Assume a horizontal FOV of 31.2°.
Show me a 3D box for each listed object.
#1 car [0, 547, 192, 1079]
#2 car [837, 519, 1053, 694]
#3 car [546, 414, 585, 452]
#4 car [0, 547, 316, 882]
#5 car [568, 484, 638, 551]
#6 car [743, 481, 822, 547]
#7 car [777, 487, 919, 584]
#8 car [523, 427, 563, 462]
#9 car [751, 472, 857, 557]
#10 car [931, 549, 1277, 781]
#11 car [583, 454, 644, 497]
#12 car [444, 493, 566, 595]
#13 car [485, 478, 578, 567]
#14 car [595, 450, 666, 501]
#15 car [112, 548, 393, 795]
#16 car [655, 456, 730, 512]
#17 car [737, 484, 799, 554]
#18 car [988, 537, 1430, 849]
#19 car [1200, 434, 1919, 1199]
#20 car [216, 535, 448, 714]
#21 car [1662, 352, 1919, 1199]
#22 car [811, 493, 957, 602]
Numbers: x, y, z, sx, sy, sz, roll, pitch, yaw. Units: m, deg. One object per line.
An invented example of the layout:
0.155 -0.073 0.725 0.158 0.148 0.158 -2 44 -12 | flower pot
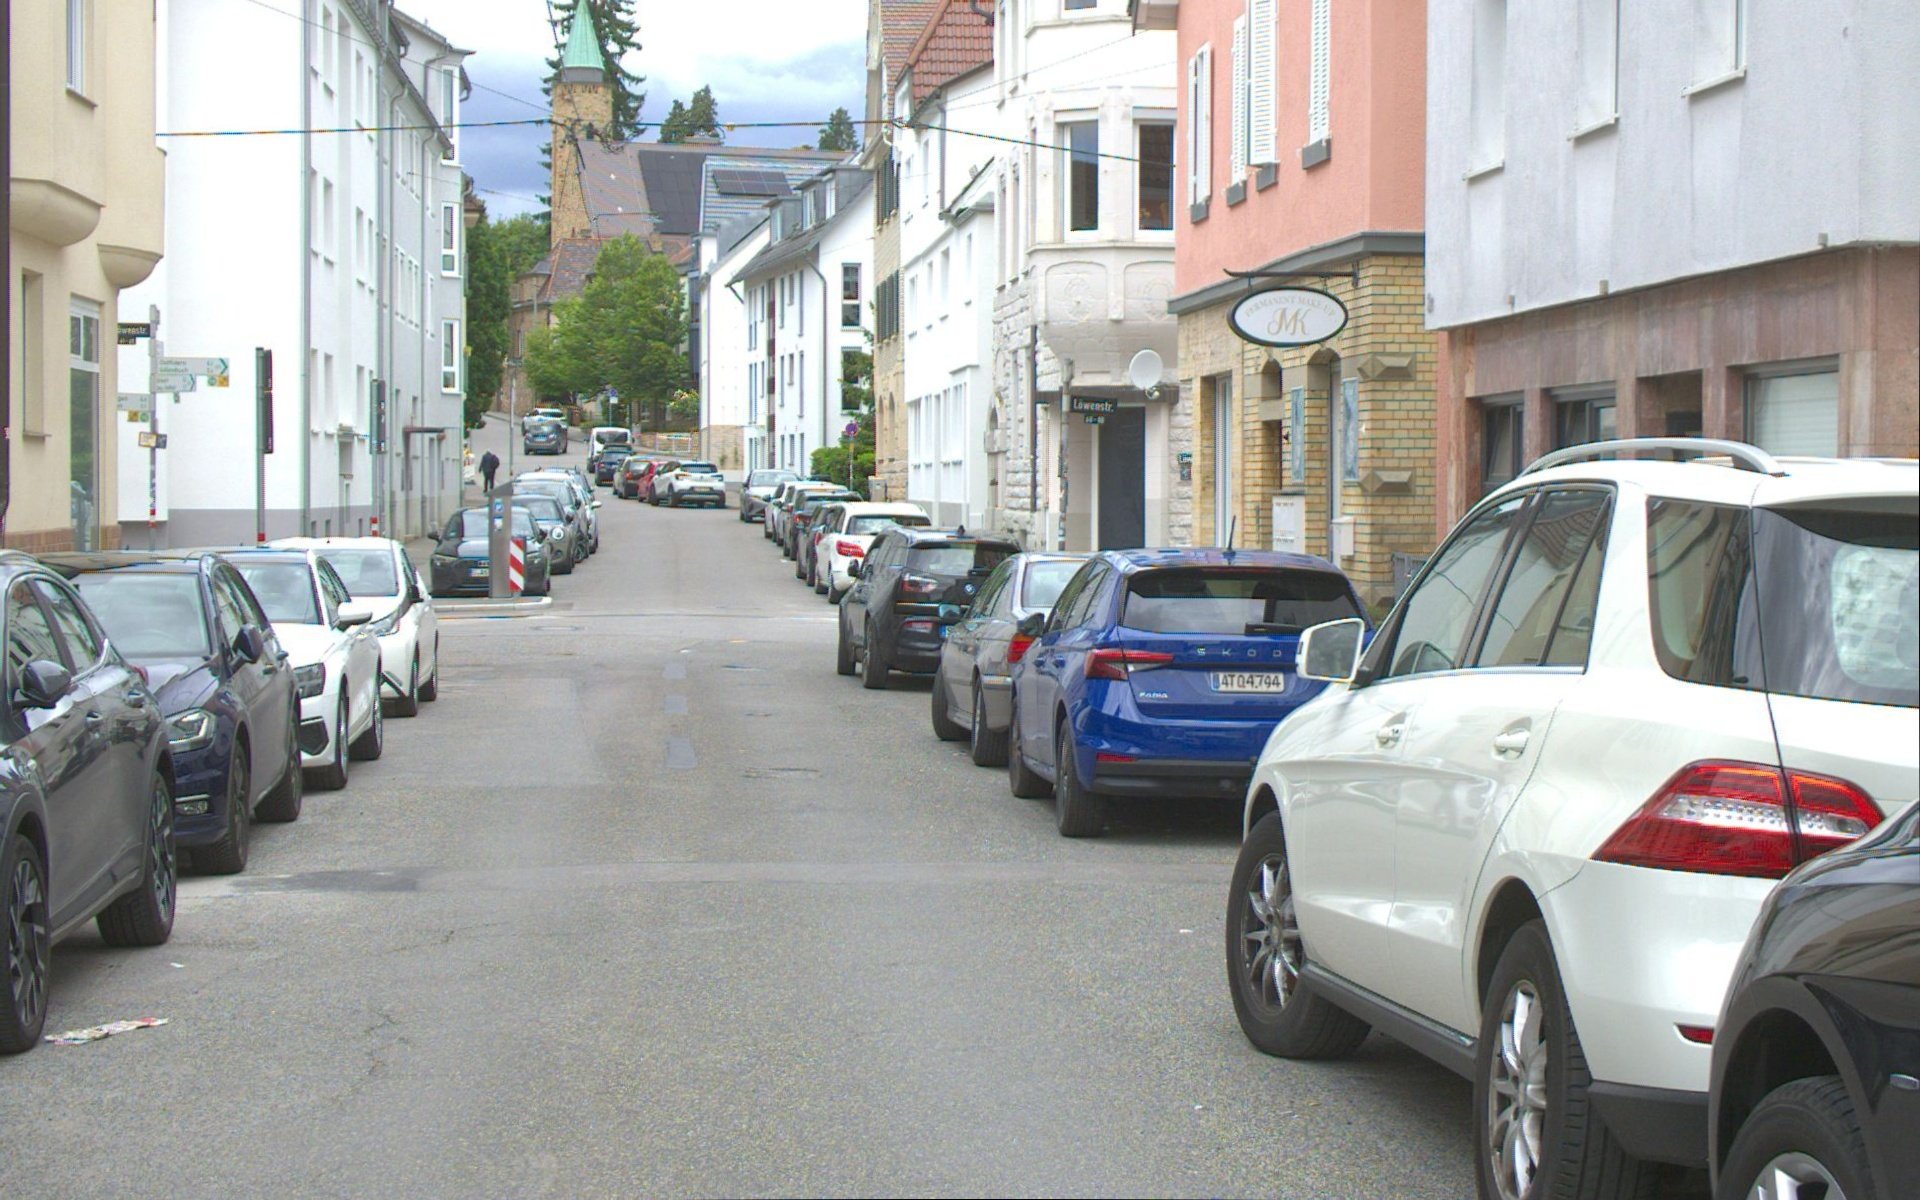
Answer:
-3.737 0.600 11.312 1.768 1.490 3.982 -2 1 -4 | car
-0.210 0.015 34.180 1.712 1.544 3.803 3 1 -6 | car
-21.777 -9.225 189.821 1.820 1.917 3.752 3 3 -10 | car
-4.130 0.468 16.809 1.606 1.419 3.855 0 1 -6 | car
-8.355 -1.915 80.533 1.539 1.336 3.285 3 -2 -6 | car
-3.874 -1.883 74.839 1.407 1.301 2.903 2 3 -8 | car
-1.983 -1.131 59.650 1.954 1.569 4.001 2 1 -9 | car
-21.010 -7.832 173.193 1.747 1.678 3.600 3 2 -9 | car
-3.198 -1.761 69.785 1.727 1.569 3.835 2 3 -8 | car
0.884 0.378 23.419 1.748 1.386 4.032 2 1 -6 | car
-14.071 -5.070 139.449 1.888 1.598 3.716 3 2 -14 | car
-7.135 -0.906 54.202 1.674 1.459 4.001 2 2 -5 | car
-7.897 -1.456 63.536 1.539 1.510 3.379 3 2 -6 | car
-11.784 -4.471 122.845 1.888 1.640 3.976 3 3 -14 | car
-4.335 0.377 21.446 1.282 1.354 3.806 0 1 -5 | car
-8.735 -3.804 111.963 1.759 1.661 4.002 3 2 -13 | car
-5.218 -2.180 93.296 1.578 1.753 3.210 2 0 -4 | car
1.214 0.419 18.378 1.774 1.470 3.783 1 1 -5 | car
1.934 0.511 8.464 1.933 1.706 4.378 1 1 -6 | car
-5.247 0.169 29.057 1.586 1.417 3.401 0 1 -5 | car
2.293 0.608 3.419 1.940 1.773 4.369 2 0 -5 | car
-1.241 -0.856 54.320 1.765 1.520 3.904 2 3 -9 | car
